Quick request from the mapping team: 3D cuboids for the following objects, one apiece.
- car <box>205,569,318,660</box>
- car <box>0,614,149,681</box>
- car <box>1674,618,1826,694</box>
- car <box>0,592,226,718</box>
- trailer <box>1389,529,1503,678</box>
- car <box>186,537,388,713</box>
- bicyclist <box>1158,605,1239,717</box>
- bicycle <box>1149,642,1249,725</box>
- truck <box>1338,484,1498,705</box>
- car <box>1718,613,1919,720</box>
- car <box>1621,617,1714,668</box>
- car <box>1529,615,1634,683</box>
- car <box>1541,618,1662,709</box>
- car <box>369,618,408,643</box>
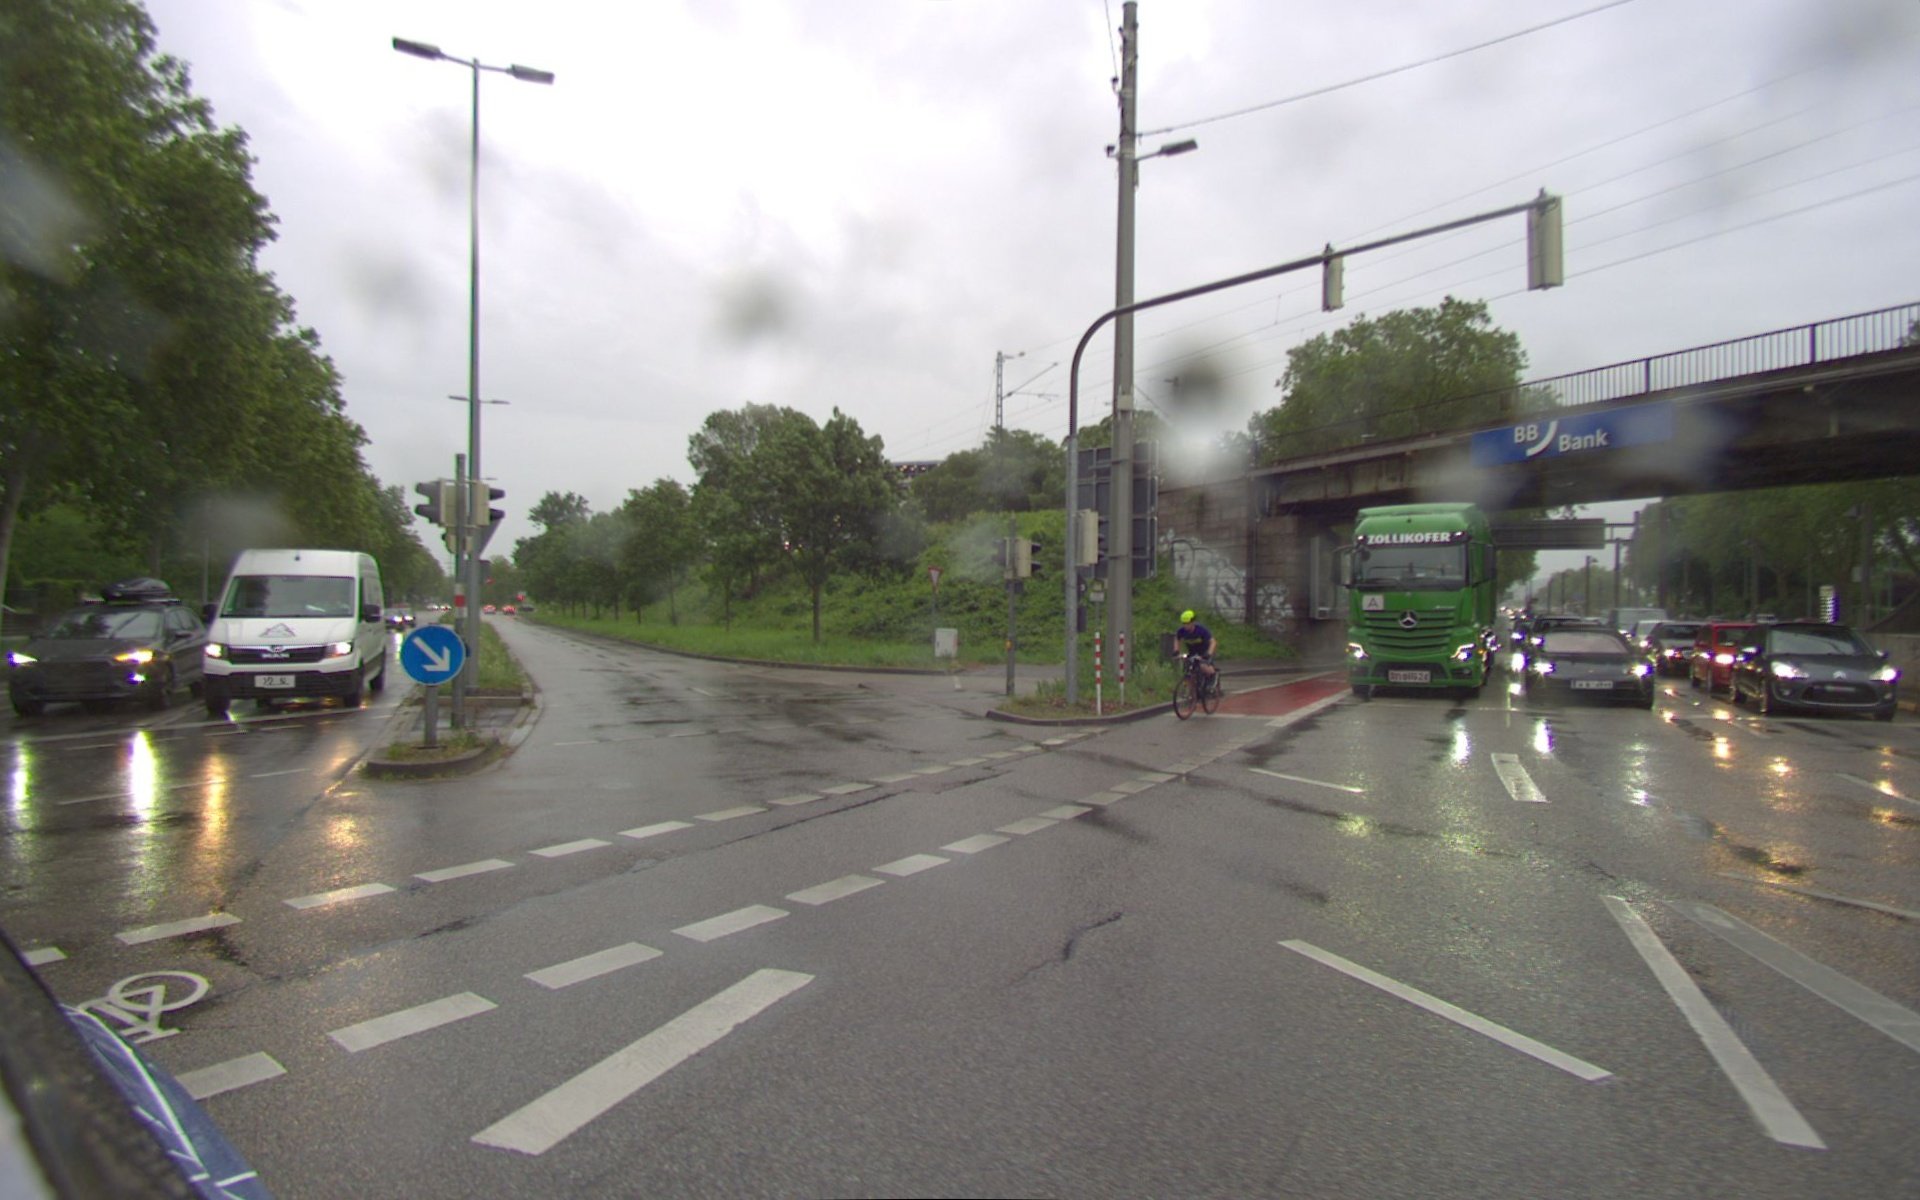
[{"bbox_3d":[-20.576,0.427,30.023,1.965,2.449,4.994,1,-1,-26],"label":"car"},{"bbox_3d":[-20.934,1.061,24.090,1.772,1.447,4.013,0,-1,-27],"label":"car"},{"bbox_3d":[17.067,1.146,22.073,1.812,1.463,3.964,0,-1,26],"label":"car"},{"bbox_3d":[-13.654,0.824,16.506,1.965,1.761,4.342,1,-2,-26],"label":"car"},{"bbox_3d":[15.285,0.144,31.487,2.678,4.017,8.435,0,-1,29],"label":"trailer"},{"bbox_3d":[-11.149,0.384,17.237,1.936,2.452,5.981,1,-1,-25],"label":"car"},{"bbox_3d":[3.629,0.887,15.373,0.805,1.605,1.033,0,0,41],"label":"bicyclist"},{"bbox_3d":[3.657,1.235,15.396,0.694,1.103,1.887,-1,0,40],"label":"bicycle"},{"bbox_3d":[10.841,-0.011,23.286,2.676,3.979,10.095,0,-1,28],"label":"truck"},{"bbox_3d":[14.283,1.024,17.020,1.651,1.558,3.966,0,-1,25],"label":"car"},{"bbox_3d":[23.819,1.403,34.202,1.990,1.586,3.964,0,-1,26],"label":"car"},{"bbox_3d":[15.891,1.198,26.058,1.990,1.586,3.963,0,-1,27],"label":"car"},{"bbox_3d":[12.093,1.115,19.301,1.739,1.496,4.636,0,-1,30],"label":"car"},{"bbox_3d":[-38.962,2.053,69.083,1.876,1.597,3.938,1,-1,-24],"label":"car"}]
